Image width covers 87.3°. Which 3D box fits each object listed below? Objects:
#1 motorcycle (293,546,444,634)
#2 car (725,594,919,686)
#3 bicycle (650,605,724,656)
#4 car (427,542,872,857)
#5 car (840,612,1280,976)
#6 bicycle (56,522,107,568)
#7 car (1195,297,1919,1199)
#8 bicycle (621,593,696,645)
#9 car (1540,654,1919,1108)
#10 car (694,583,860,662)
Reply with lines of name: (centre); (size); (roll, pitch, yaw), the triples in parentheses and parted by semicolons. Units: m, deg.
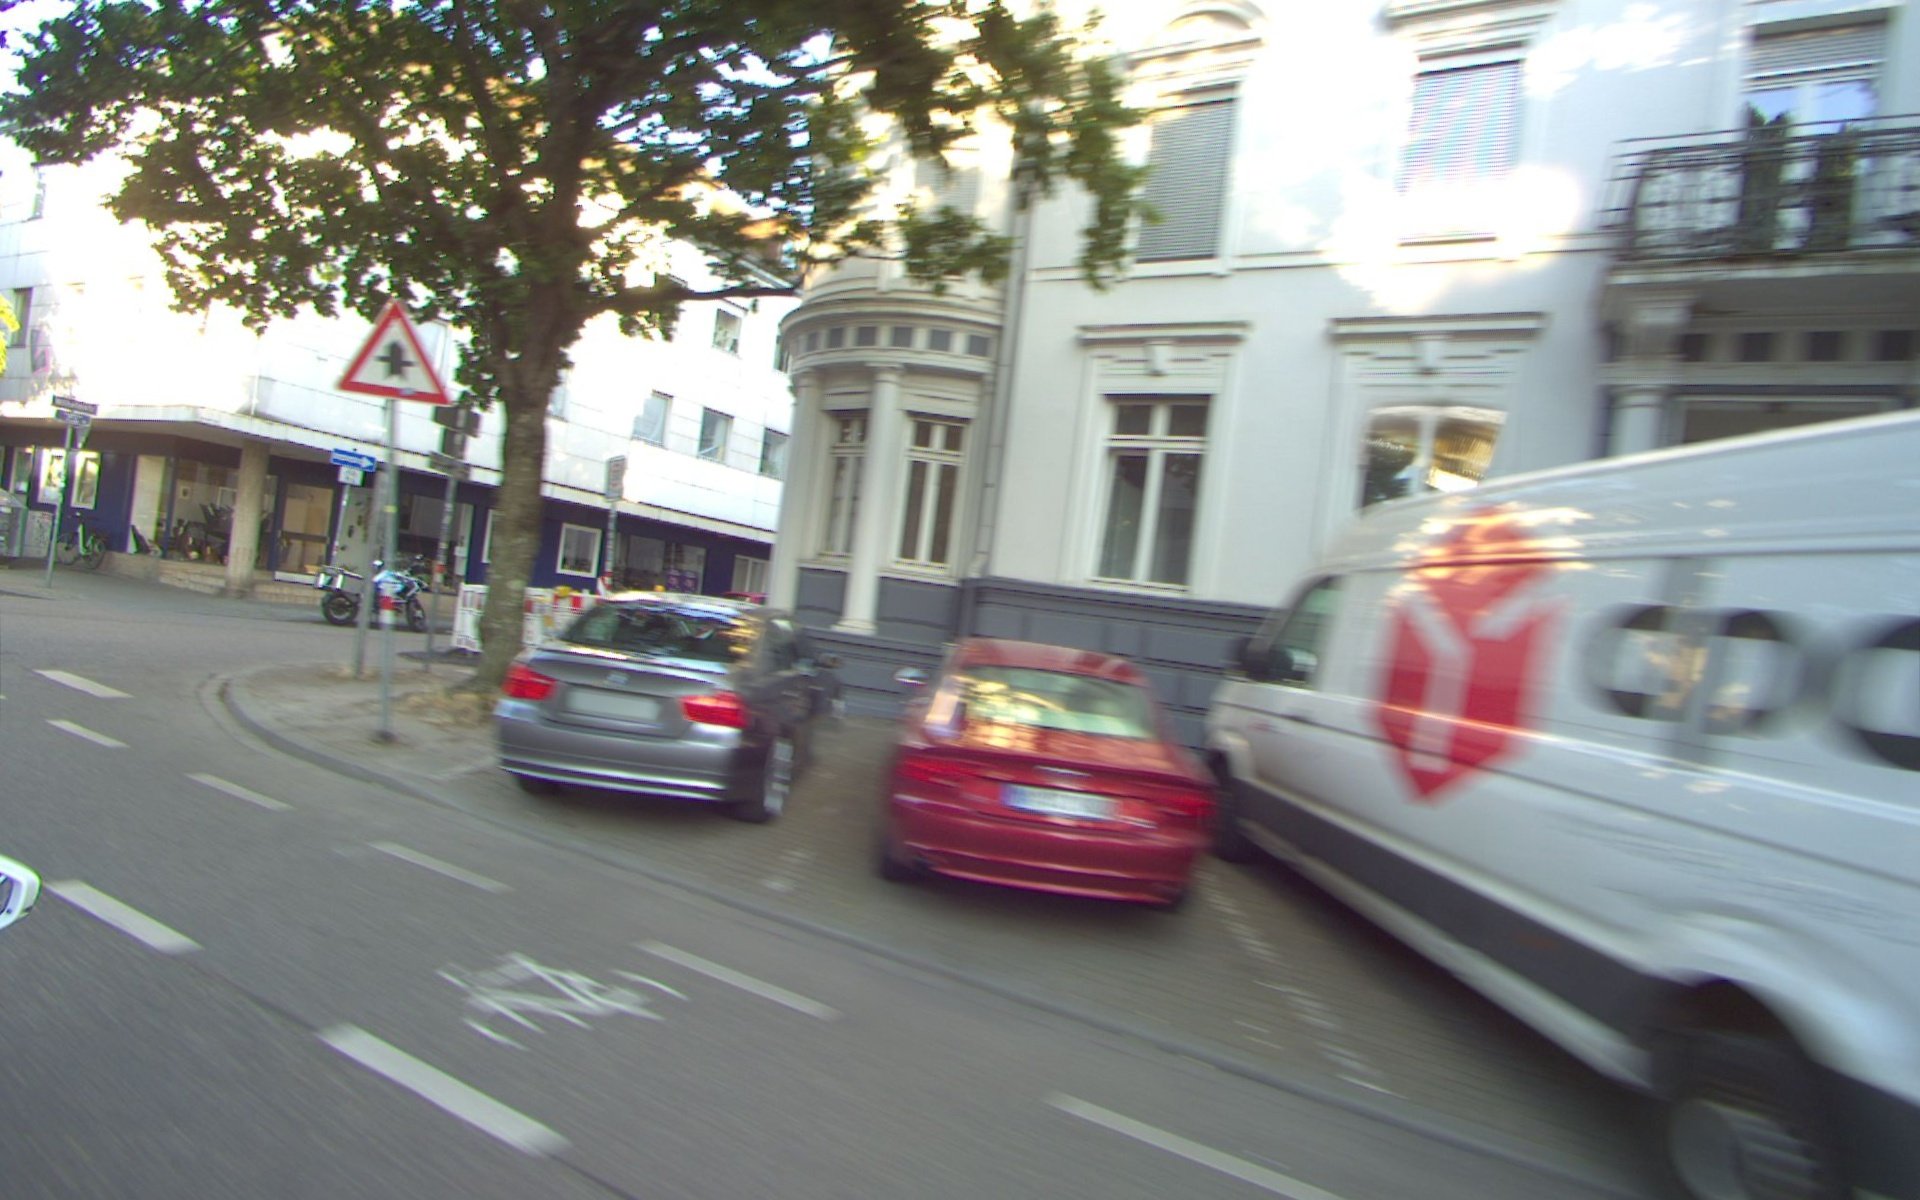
motorcycle: (-11.547, -0.177, 19.697); (1.270, 1.421, 2.093); (6, -2, 35)
car: (-2.829, 0.901, 21.381); (1.824, 1.509, 3.890); (7, -1, 34)
bicycle: (-7.038, 0.770, 25.902); (1.838, 1.069, 0.526); (7, -1, 25)
car: (-1.975, 0.544, 8.015); (1.828, 1.532, 4.605); (9, 1, 1)
car: (0.489, 0.952, 6.992); (1.951, 1.463, 4.405); (6, 0, 0)
bicycle: (-19.752, -1.237, 22.607); (1.303, 0.894, 0.341); (7, 2, 26)
car: (3.180, 0.732, 4.462); (2.134, 2.726, 5.636); (7, -1, -6)
bicycle: (-7.493, 0.471, 24.958); (2.066, 1.069, 0.590); (5, -1, 37)
car: (5.450, 1.435, 4.234); (2.134, 1.917, 5.636); (7, -1, -6)
car: (-5.022, 0.684, 28.171); (1.826, 1.688, 4.348); (7, -1, 37)
